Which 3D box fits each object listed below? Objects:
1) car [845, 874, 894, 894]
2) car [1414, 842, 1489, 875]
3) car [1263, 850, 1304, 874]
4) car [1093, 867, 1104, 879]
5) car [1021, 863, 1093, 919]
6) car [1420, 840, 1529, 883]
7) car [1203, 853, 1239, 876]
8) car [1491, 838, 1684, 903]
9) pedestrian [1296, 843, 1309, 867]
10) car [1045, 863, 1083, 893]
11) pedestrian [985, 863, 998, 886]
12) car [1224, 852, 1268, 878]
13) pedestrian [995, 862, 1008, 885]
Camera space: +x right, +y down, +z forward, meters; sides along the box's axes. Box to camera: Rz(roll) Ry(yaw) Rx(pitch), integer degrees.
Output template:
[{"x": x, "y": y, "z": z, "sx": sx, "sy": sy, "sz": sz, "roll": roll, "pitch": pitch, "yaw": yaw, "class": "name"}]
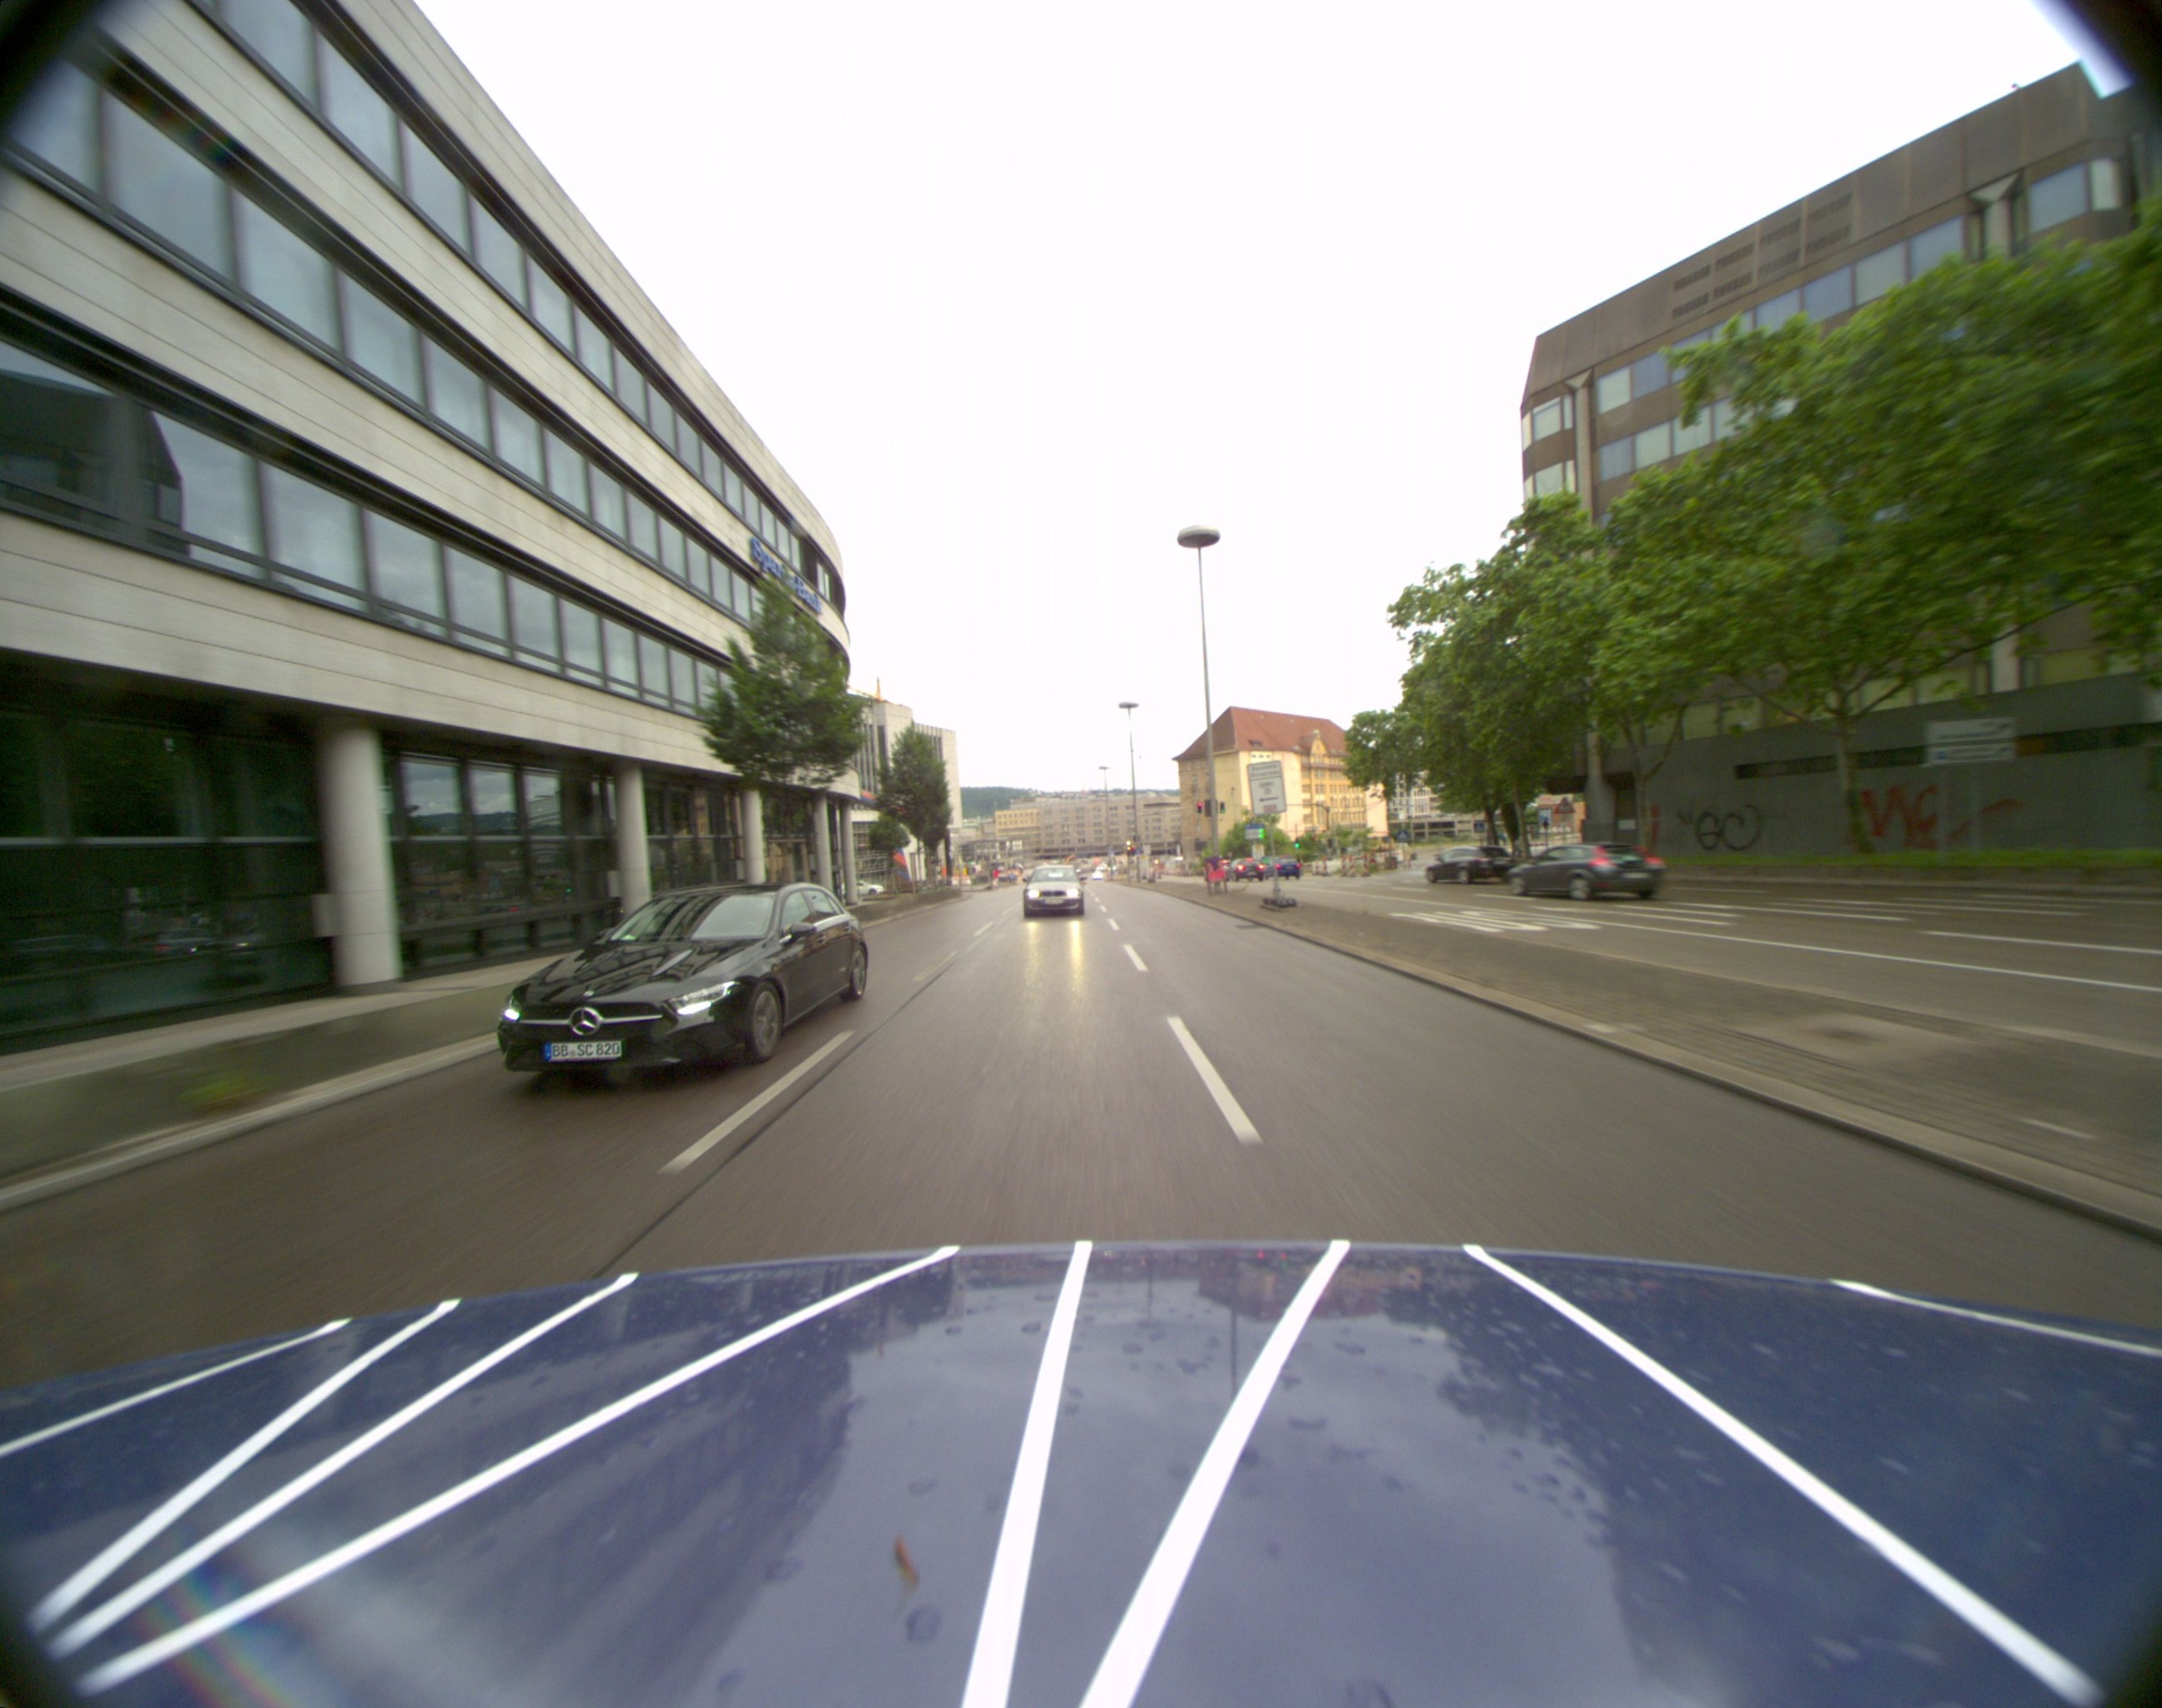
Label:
[{"x": -19.486, "y": 2.752, "z": 70.097, "sx": 3.998, "sy": 1.610, "sz": 1.843, "roll": -2, "pitch": 1, "yaw": -2, "class": "car"}, {"x": 18.333, "y": 0.242, "z": 37.791, "sx": 1.799, "sy": 1.477, "sz": 3.764, "roll": -2, "pitch": -1, "yaw": -1, "class": "car"}, {"x": 13.419, "y": 0.543, "z": 50.487, "sx": 1.798, "sy": 1.477, "sz": 3.438, "roll": -2, "pitch": -1, "yaw": 2, "class": "car"}, {"x": 3.272, "y": 3.476, "z": 141.519, "sx": 1.998, "sy": 2.002, "sz": 4.000, "roll": -2, "pitch": 1, "yaw": 2, "class": "car"}, {"x": -0.611, "y": 1.021, "z": 22.578, "sx": 1.863, "sy": 1.428, "sz": 4.205, "roll": -1, "pitch": 0, "yaw": 1, "class": "car"}, {"x": 15.558, "y": 0.287, "z": 30.323, "sx": 1.938, "sy": 1.491, "sz": 4.506, "roll": -2, "pitch": 0, "yaw": -1, "class": "car"}, {"x": 10.115, "y": 0.733, "z": 55.200, "sx": 1.798, "sy": 1.477, "sz": 3.863, "roll": -3, "pitch": 0, "yaw": -1, "class": "car"}, {"x": 12.843, "y": 0.381, "z": 19.697, "sx": 1.938, "sy": 1.428, "sz": 4.506, "roll": -2, "pitch": 0, "yaw": -1, "class": "car"}, {"x": 18.560, "y": 0.111, "z": 63.652, "sx": 0.812, "sy": 2.002, "sz": 0.662, "roll": -3, "pitch": 1, "yaw": -31, "class": "pedestrian"}, {"x": -0.875, "y": 1.210, "z": 39.941, "sx": 1.863, "sy": 1.449, "sz": 4.205, "roll": -1, "pitch": 0, "yaw": 0, "class": "car"}, {"x": -7.680, "y": 1.778, "z": 65.260, "sx": 0.992, "sy": 1.936, "sz": 0.766, "roll": -2, "pitch": 1, "yaw": 2, "class": "pedestrian"}, {"x": 10.267, "y": 0.673, "z": 47.635, "sx": 1.798, "sy": 1.477, "sz": 3.863, "roll": -3, "pitch": 0, "yaw": -1, "class": "car"}, {"x": -6.954, "y": 1.717, "z": 66.343, "sx": 0.765, "sy": 1.936, "sz": 0.994, "roll": -2, "pitch": 1, "yaw": 18, "class": "pedestrian"}]
